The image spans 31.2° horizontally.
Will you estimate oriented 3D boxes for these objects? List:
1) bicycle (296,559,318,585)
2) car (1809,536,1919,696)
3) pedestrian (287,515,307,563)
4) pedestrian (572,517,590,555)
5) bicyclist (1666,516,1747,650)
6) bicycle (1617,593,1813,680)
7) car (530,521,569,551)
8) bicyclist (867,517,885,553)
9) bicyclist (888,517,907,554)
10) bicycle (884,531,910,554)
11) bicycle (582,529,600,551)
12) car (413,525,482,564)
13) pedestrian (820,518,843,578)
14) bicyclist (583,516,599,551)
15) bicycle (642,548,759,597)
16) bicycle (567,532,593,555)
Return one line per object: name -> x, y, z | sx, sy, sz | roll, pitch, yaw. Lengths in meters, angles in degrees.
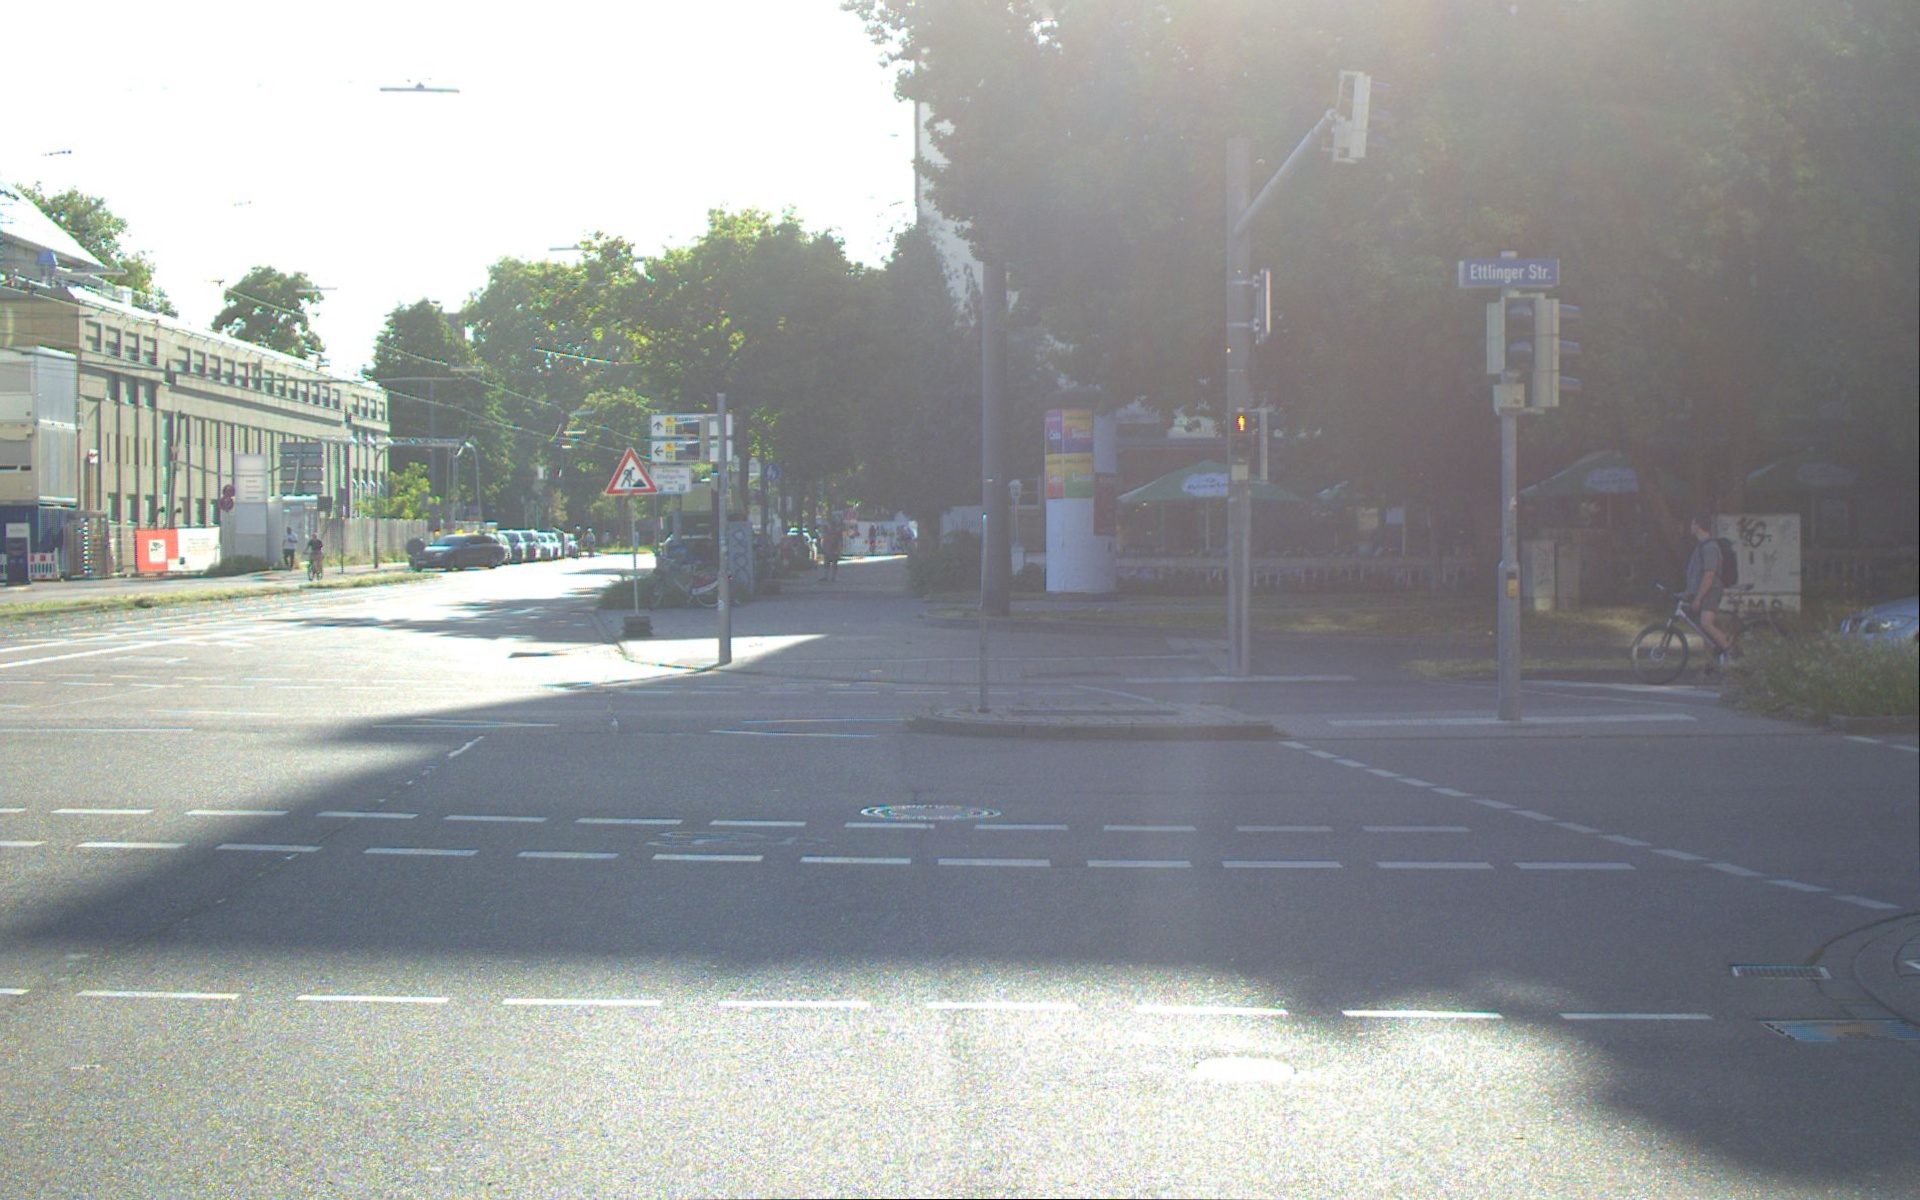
bicycle -> -21.955, -0.943, 115.595 | 0.494, 0.836, 1.156 | -1, 1, 2
car -> 10.837, 0.169, 33.568 | 4.576, 1.511, 2.000 | 1, 1, 0
pedestrian -> -25.942, -2.391, 134.565 | 0.588, 1.883, 0.478 | 1, 0, 20
pedestrian -> -20.557, -3.479, 186.252 | 0.751, 2.056, 1.050 | 1, 0, 5
bicyclist -> 7.891, -0.181, 36.374 | 0.747, 1.401, 0.702 | 1, 0, 6
bicycle -> 7.973, 0.383, 36.375 | 1.944, 0.886, 0.718 | 1, 0, 6
car -> -23.241, -3.615, 194.687 | 1.993, 1.638, 4.001 | -1, 1, -4
bicyclist -> -4.661, -3.594, 190.587 | 0.890, 2.007, 0.749 | 1, 0, -12
bicyclist -> -3.450, -3.579, 190.789 | 0.890, 2.007, 0.749 | 1, 0, -12
bicycle -> -3.497, -3.186, 190.996 | 0.890, 1.215, 2.794 | 1, 1, -12
bicycle -> -20.524, -3.344, 191.228 | 0.750, 1.201, 3.108 | 1, 1, -2
car -> -21.310, -2.314, 143.062 | 1.994, 1.593, 4.000 | 0, 1, 5
pedestrian -> -3.662, -1.477, 97.680 | 0.576, 1.683, 0.585 | -1, 1, -8
bicyclist -> -20.509, -3.715, 191.105 | 0.750, 1.913, 1.215 | 1, 0, -2
bicycle -> -5.077, -0.538, 67.218 | 2.244, 0.937, 0.654 | -1, 1, -5
bicycle -> -20.575, -3.036, 186.170 | 0.751, 1.201, 3.107 | 1, 1, 5
